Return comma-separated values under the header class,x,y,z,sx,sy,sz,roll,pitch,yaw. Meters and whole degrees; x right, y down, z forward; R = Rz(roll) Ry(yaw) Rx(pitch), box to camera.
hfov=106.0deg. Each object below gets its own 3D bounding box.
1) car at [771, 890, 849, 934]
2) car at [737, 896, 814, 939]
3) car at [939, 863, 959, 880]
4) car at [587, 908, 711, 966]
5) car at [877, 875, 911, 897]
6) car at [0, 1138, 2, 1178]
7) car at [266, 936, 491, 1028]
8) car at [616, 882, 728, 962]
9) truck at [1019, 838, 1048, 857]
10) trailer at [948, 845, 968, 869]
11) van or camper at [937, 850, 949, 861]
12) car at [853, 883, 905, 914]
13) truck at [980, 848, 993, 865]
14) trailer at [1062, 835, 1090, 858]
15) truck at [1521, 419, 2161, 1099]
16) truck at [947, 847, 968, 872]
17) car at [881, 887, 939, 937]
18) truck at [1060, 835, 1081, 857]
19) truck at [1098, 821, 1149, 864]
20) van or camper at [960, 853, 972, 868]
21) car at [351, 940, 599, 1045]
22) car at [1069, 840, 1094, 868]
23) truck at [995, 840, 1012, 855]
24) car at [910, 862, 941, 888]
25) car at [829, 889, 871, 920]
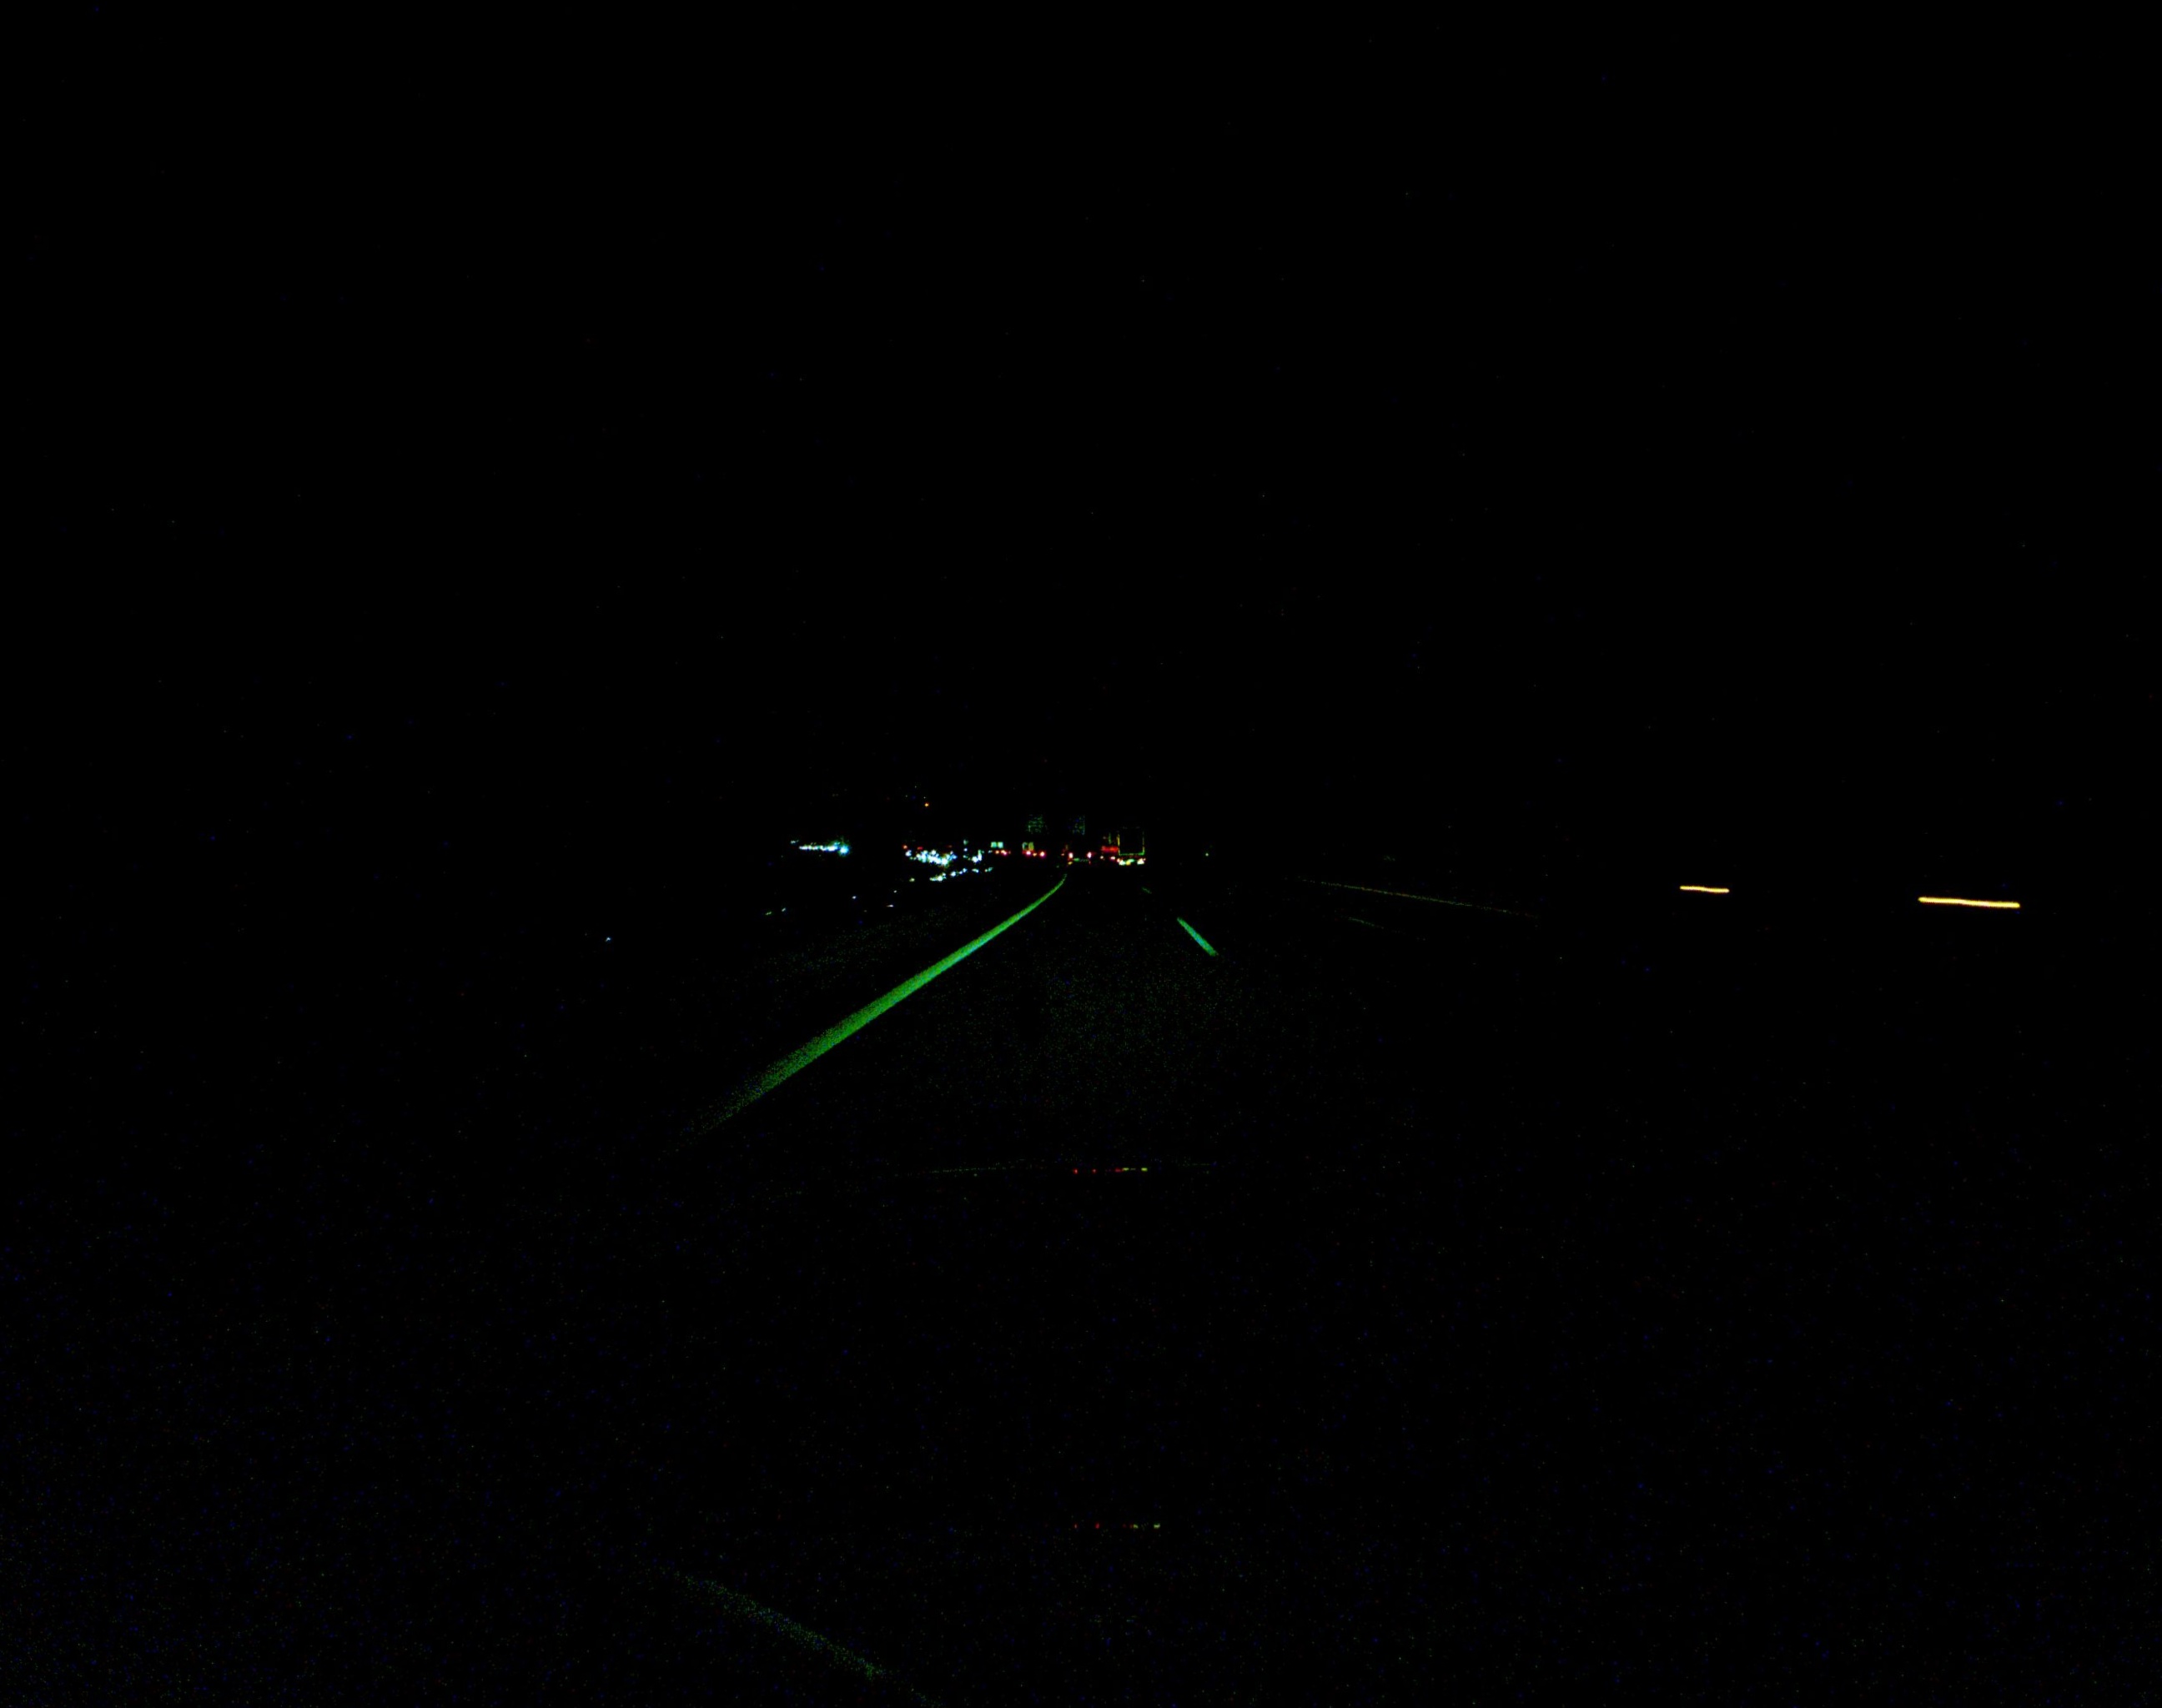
class,x,y,z,sx,sy,sz,roll,pitch,yaw
car,-11.512,2.418,34.930,1.898,1.453,4.707,-2,0,-2
car,-14.909,3.045,40.039,2.070,1.634,4.916,-2,0,-3
car,-17.545,2.287,108.442,2.135,2.054,5.106,-3,1,-4
car,-14.914,2.816,28.443,1.898,1.453,4.707,-2,0,-2
car,-14.578,2.489,63.610,1.819,1.458,3.995,-4,0,-3
car,-11.780,2.546,6.118,1.791,1.416,4.007,-3,0,6
car,-15.728,2.794,18.559,1.693,1.398,3.998,-2,0,-1
car,-12.032,1.939,24.201,1.616,2.013,3.324,-4,0,-2
truck,-13.161,-1.820,221.541,3.921,4.626,20.919,-3,2,-14
trailer,-23.407,0.568,155.139,3.434,4.240,12.796,-3,0,-8
van or camper,-38.801,0.480,229.232,2.451,2.760,6.451,-4,1,-17
car,-11.294,2.470,45.882,1.898,1.453,4.707,-2,0,-2
truck,-21.692,0.523,186.502,2.653,3.591,8.524,-2,0,-9
trailer,-1.103,-1.544,158.944,2.856,4.066,13.155,-3,2,-11
truck,7.725,-0.559,7.944,2.855,3.839,8.061,-1,0,3
truck,-22.635,0.973,149.297,3.417,4.222,6.265,-4,1,-8
car,-7.707,2.567,36.994,1.728,1.857,3.998,-4,0,-1
truck,-2.147,-1.715,163.814,2.864,4.076,7.482,-3,2,-12
truck,4.307,-1.119,88.609,3.475,4.134,18.686,-2,0,-3
van or camper,-25.222,1.415,178.673,1.837,2.971,6.368,-3,1,-14
car,-11.704,2.607,16.127,1.712,1.303,4.003,-3,0,3
car,0.008,0.004,80.673,2.330,2.640,5.245,1,0,-1
truck,-25.087,-2.112,262.210,3.350,4.475,13.839,0,1,-15
car,-15.445,2.031,81.006,2.022,2.441,5.692,-2,0,-1
car,-15.271,3.308,53.978,1.748,1.716,3.996,-2,0,-2
